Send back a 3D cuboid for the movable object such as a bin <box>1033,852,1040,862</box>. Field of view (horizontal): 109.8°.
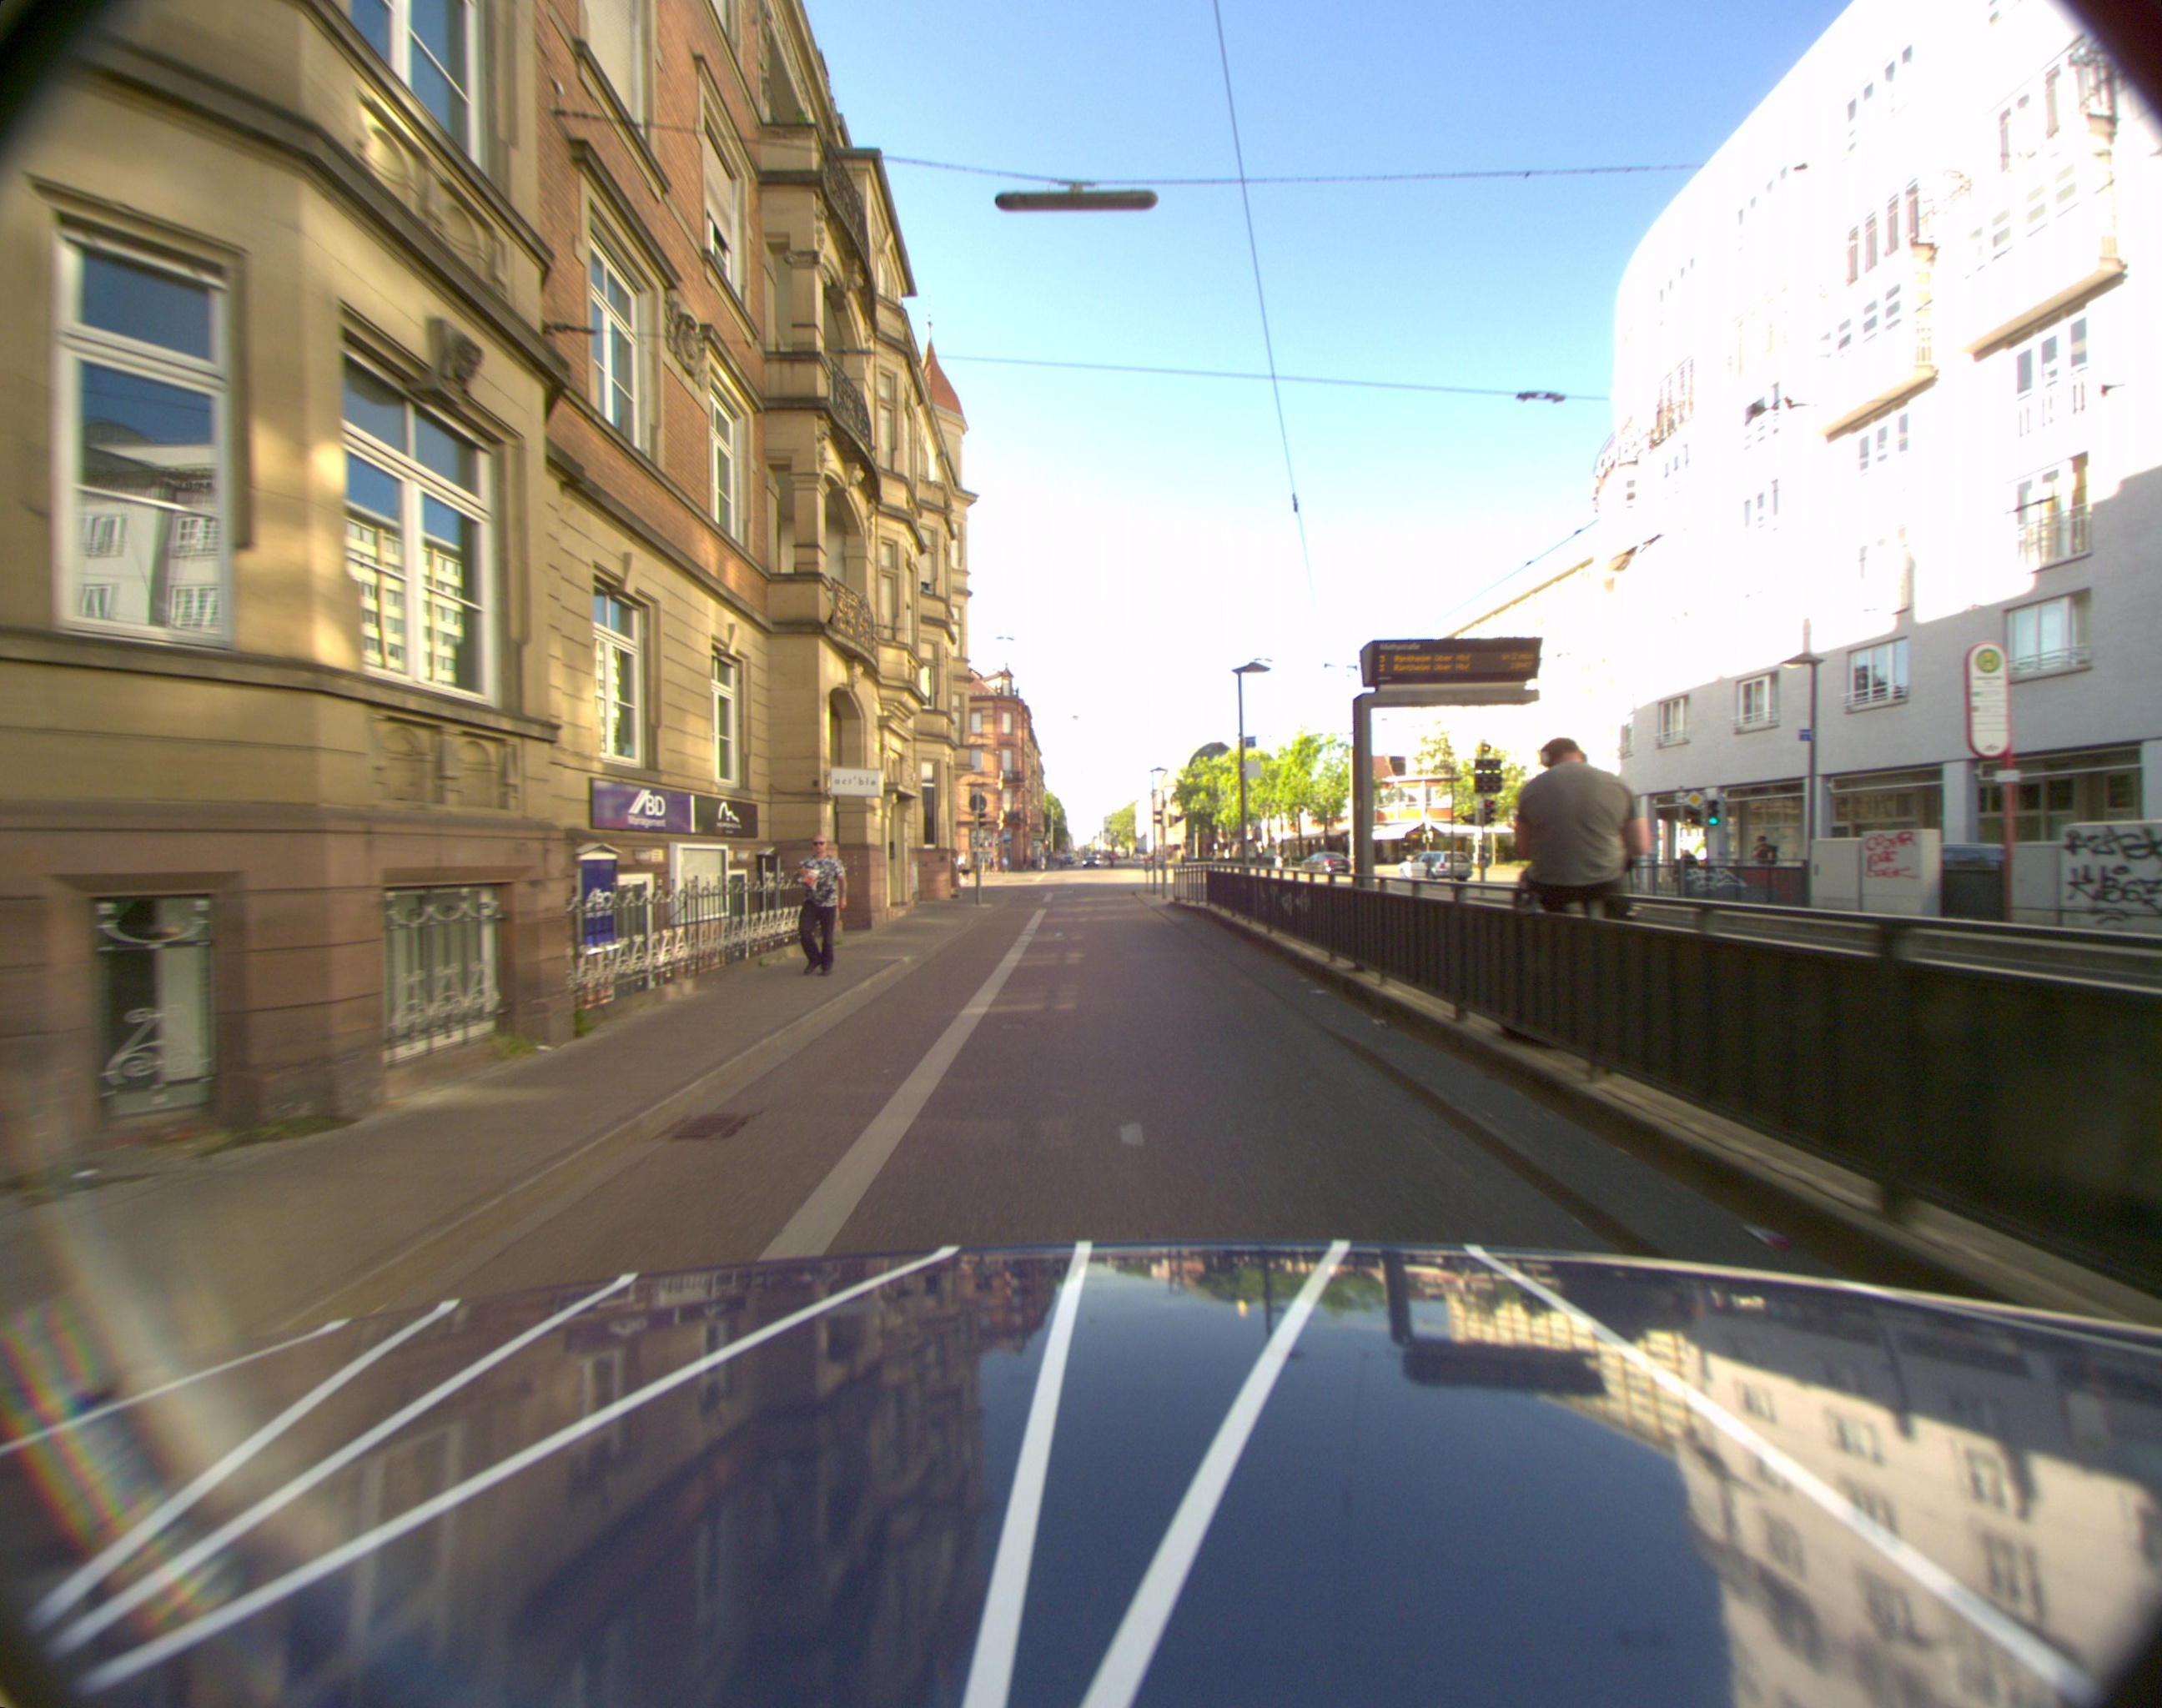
[{"bbox_3d":[-4.950,0.348,83.992,0.664,1.066,0.545,2,1,2],"label":"movable object such as a bin"}]

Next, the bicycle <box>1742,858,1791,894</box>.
[{"bbox_3d":[20.322,0.649,22.563,0.676,0.974,1.765,-1,1,28],"label":"bicycle"}]

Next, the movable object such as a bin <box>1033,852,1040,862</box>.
[{"bbox_3d":[-4.919,0.343,84.587,0.664,1.066,0.591,2,1,2],"label":"movable object such as a bin"}]

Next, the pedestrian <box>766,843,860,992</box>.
[{"bbox_3d":[-3.330,0.759,9.551,0.782,1.739,1.093,-2,-1,-2],"label":"pedestrian"}]

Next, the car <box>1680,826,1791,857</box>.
[{"bbox_3d":[34.028,-0.614,39.657,1.804,1.394,4.098,-2,-1,-13],"label":"car"}]

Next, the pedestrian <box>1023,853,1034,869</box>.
[{"bbox_3d":[-5.018,0.666,72.840,0.633,1.529,0.943,0,2,29],"label":"pedestrian"}]

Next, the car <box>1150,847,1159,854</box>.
[{"bbox_3d":[17.794,-0.885,183.362,1.753,1.445,3.470,-2,1,-1],"label":"car"}]

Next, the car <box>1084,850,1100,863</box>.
[{"bbox_3d":[1.367,0.291,92.117,1.815,1.415,4.153,-3,1,0],"label":"car"}]

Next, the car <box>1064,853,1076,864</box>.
[{"bbox_3d":[-1.666,0.702,117.218,1.694,1.442,4.359,-3,1,0],"label":"car"}]

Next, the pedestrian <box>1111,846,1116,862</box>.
[{"bbox_3d":[3.581,0.009,83.562,0.559,1.753,0.895,1,1,0],"label":"pedestrian"}]

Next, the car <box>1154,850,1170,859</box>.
[{"bbox_3d":[13.589,0.002,128.011,1.999,1.443,4.649,-1,0,-1],"label":"car"}]

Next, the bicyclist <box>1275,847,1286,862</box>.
[{"bbox_3d":[17.708,0.005,67.484,0.590,1.278,0.991,-1,2,-9],"label":"bicyclist"}]

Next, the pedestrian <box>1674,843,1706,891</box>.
[{"bbox_3d":[19.682,0.435,24.551,0.443,1.525,0.682,-1,0,-36],"label":"pedestrian"}]

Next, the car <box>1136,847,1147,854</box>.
[{"bbox_3d":[13.840,-0.803,174.120,1.999,1.443,4.501,-1,0,-1],"label":"car"}]

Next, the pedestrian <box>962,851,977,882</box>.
[{"bbox_3d":[-6.084,0.687,41.341,0.702,1.645,0.631,-1,2,-1],"label":"pedestrian"}]

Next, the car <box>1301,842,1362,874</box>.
[{"bbox_3d":[15.729,0.221,47.932,2.233,1.900,4.608,-1,1,-1],"label":"car"}]

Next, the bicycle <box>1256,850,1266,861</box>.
[{"bbox_3d":[18.384,0.140,77.695,0.498,1.179,2.235,-1,1,-1],"label":"bicycle"}]

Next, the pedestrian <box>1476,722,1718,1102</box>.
[{"bbox_3d":[2.548,0.264,3.866,0.637,1.688,0.933,-3,2,8],"label":"pedestrian"}]

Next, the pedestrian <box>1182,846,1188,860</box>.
[{"bbox_3d":[11.633,-0.096,85.062,0.501,1.509,0.859,1,1,0],"label":"pedestrian"}]

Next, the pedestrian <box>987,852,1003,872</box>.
[{"bbox_3d":[-7.292,0.657,64.230,0.939,1.623,0.927,1,3,36],"label":"pedestrian"}]

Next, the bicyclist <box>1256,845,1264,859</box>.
[{"bbox_3d":[17.384,-0.214,73.767,0.590,1.278,0.926,-1,2,1],"label":"bicyclist"}]

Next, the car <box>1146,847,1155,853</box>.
[{"bbox_3d":[17.700,-0.911,193.022,1.856,1.445,3.853,-2,1,0],"label":"car"}]

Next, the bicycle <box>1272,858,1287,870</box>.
[{"bbox_3d":[17.670,0.877,67.569,0.596,0.967,1.852,-1,2,-9],"label":"bicycle"}]

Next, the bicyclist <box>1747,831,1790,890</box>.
[{"bbox_3d":[20.275,0.190,22.430,0.722,1.686,1.031,-1,1,28],"label":"bicyclist"}]

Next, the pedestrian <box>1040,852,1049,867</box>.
[{"bbox_3d":[-3.877,0.553,81.252,0.684,1.598,0.729,-2,1,-29],"label":"pedestrian"}]

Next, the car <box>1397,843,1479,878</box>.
[{"bbox_3d":[16.609,0.267,35.619,1.733,1.506,4.403,-1,1,-1],"label":"car"}]

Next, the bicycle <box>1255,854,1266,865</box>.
[{"bbox_3d":[17.414,0.529,73.751,0.595,0.967,1.817,-1,2,1],"label":"bicycle"}]

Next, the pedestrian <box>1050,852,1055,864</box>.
[{"bbox_3d":[-4.526,0.658,120.412,0.686,1.901,1.063,-3,2,3],"label":"pedestrian"}]
